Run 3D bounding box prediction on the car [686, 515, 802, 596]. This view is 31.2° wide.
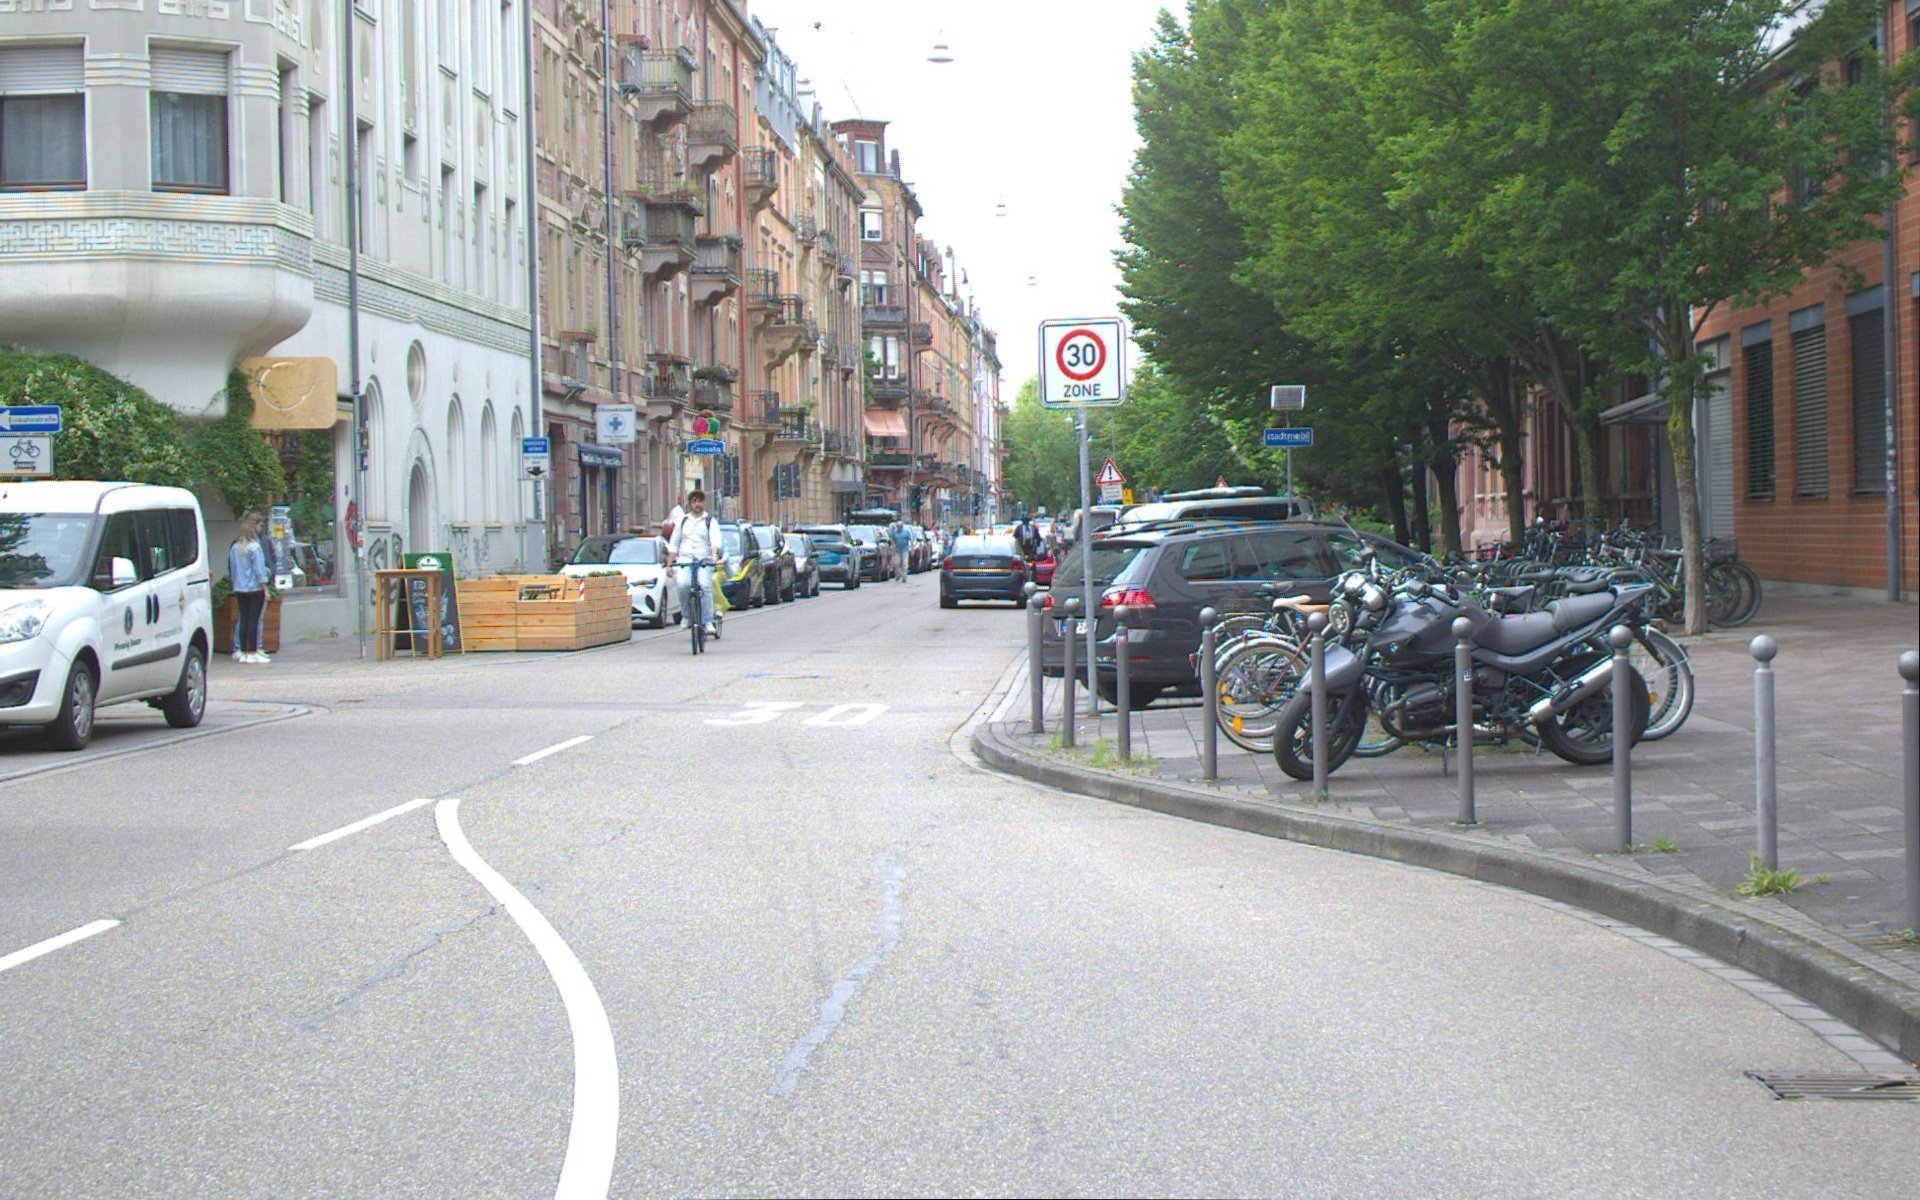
[{"bbox_3d":[-4.403,-0.922,70.687,1.944,1.611,3.942,0,1,3],"label":"car"}]

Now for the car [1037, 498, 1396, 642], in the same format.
[{"bbox_3d":[3.181,-0.378,42.561,4.047,1.579,1.771,-3,1,-28],"label":"car"}]

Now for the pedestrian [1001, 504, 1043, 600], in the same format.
[{"bbox_3d":[1.411,-1.079,78.019,0.891,2.138,1.028,-1,0,1],"label":"pedestrian"}]

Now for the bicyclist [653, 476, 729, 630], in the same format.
[{"bbox_3d":[-3.310,-0.580,42.352,0.782,1.859,0.714,-1,1,4],"label":"bicyclist"}]

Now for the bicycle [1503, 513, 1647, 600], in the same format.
[{"bbox_3d":[7.950,-0.555,44.444,1.752,1.088,0.565,-1,0,2],"label":"bicycle"}]

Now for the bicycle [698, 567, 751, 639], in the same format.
[{"bbox_3d":[-3.282,0.044,47.932,0.535,0.974,1.865,-1,0,2],"label":"bicycle"}]

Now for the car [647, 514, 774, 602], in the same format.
[{"bbox_3d":[-4.697,-0.803,65.223,1.944,1.611,3.942,0,1,3],"label":"car"}]

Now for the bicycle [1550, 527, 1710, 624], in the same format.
[{"bbox_3d":[7.810,-0.284,40.100,1.752,1.088,0.565,-1,0,2],"label":"bicycle"}]

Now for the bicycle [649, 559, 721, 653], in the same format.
[{"bbox_3d":[-3.345,0.061,41.917,0.567,1.083,1.986,-1,2,4],"label":"bicycle"}]

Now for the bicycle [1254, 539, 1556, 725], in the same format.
[{"bbox_3d":[2.961,0.210,22.973,1.883,1.137,0.612,-3,0,0],"label":"bicycle"}]

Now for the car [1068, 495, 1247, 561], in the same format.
[{"bbox_3d":[6.307,-2.300,109.601,5.386,1.861,1.951,-3,1,-27],"label":"car"}]

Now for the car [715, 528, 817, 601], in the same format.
[{"bbox_3d":[-4.369,-0.822,77.881,1.944,1.611,3.942,0,1,2],"label":"car"}]

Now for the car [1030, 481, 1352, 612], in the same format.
[{"bbox_3d":[4.184,-0.973,61.882,5.607,2.120,1.950,-3,1,-31],"label":"car"}]

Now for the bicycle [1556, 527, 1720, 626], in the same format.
[{"bbox_3d":[7.743,-0.268,39.319,1.752,1.088,0.565,-1,0,2],"label":"bicycle"}]

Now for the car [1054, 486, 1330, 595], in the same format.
[{"bbox_3d":[4.749,-1.214,69.954,5.386,1.985,1.950,-3,1,-31],"label":"car"}]

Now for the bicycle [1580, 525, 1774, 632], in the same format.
[{"bbox_3d":[7.602,-0.226,36.483,1.933,1.088,0.577,-1,0,2],"label":"bicycle"}]

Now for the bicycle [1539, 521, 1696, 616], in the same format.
[{"bbox_3d":[7.778,-0.374,40.708,1.752,1.088,0.565,-1,0,2],"label":"bicycle"}]

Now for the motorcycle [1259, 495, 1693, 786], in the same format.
[{"bbox_3d":[2.727,0.213,18.327,2.134,1.424,0.771,-3,0,0],"label":"motorcycle"}]

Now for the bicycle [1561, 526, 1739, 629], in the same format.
[{"bbox_3d":[7.599,-0.247,37.900,1.836,1.088,0.543,-1,0,2],"label":"bicycle"}]

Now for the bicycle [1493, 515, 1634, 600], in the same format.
[{"bbox_3d":[7.942,-0.557,45.306,1.752,1.088,0.565,-1,0,2],"label":"bicycle"}]

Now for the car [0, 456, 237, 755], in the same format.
[{"bbox_3d":[-6.741,-0.018,24.561,1.843,1.933,4.547,-1,2,4],"label":"car"}]

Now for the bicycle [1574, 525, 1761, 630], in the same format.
[{"bbox_3d":[7.621,-0.241,37.089,1.895,1.088,0.543,-1,0,2],"label":"bicycle"}]

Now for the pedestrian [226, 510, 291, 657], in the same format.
[{"bbox_3d":[-8.349,-0.200,40.918,0.578,1.728,0.506,-1,0,-33],"label":"pedestrian"}]

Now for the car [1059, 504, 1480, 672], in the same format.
[{"bbox_3d":[3.322,-0.137,36.784,4.047,1.579,1.903,-3,1,-28],"label":"car"}]

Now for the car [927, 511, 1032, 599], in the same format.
[{"bbox_3d":[0.421,-0.874,68.875,1.993,1.675,4.000,-1,0,1],"label":"car"}]

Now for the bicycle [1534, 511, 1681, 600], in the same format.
[{"bbox_3d":[8.196,-0.557,43.544,1.752,1.088,0.565,-1,0,2],"label":"bicycle"}]

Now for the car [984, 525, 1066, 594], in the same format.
[{"bbox_3d":[1.663,-1.022,87.421,1.993,1.675,4.000,-1,0,1],"label":"car"}]

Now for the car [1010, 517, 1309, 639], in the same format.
[{"bbox_3d":[2.782,-0.316,47.576,3.852,1.500,1.771,-3,1,-37],"label":"car"}]

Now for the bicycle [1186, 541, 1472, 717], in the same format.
[{"bbox_3d":[2.569,0.199,24.045,1.883,1.137,0.612,-3,0,0],"label":"bicycle"}]

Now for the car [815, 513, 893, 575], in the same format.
[{"bbox_3d":[-3.016,-1.622,98.734,1.944,1.736,3.942,0,1,3],"label":"car"}]

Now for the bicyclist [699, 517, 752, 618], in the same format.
[{"bbox_3d":[-3.269,-0.452,47.938,0.668,1.394,0.783,-1,0,0],"label":"bicyclist"}]

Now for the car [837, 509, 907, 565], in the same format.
[{"bbox_3d":[-2.770,-1.994,109.538,1.944,1.738,3.942,0,1,3],"label":"car"}]

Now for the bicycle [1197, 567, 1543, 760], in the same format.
[{"bbox_3d":[2.409,0.370,20.330,1.929,1.040,0.612,-3,0,0],"label":"bicycle"}]

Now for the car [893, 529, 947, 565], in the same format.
[{"bbox_3d":[-1.520,-2.011,131.233,1.993,1.316,4.000,-1,0,-1],"label":"car"}]

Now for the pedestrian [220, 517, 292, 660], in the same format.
[{"bbox_3d":[-8.237,-0.130,40.231,0.579,1.655,0.575,-1,0,24],"label":"pedestrian"}]

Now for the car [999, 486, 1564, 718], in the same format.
[{"bbox_3d":[2.676,-0.009,28.354,4.274,1.573,1.863,-4,2,-30],"label":"car"}]

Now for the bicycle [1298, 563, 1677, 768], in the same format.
[{"bbox_3d":[2.977,0.366,19.516,2.009,1.059,0.612,-3,0,0],"label":"bicycle"}]

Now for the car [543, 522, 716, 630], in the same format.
[{"bbox_3d":[-5.102,-0.397,53.579,1.944,1.548,3.817,-2,1,5],"label":"car"}]

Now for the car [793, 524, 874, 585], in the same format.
[{"bbox_3d":[-3.426,-1.243,93.842,1.944,1.611,3.942,0,1,2],"label":"car"}]

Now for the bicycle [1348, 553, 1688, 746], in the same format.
[{"bbox_3d":[3.393,0.298,20.983,1.929,1.073,0.612,-3,0,0],"label":"bicycle"}]

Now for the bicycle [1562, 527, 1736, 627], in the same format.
[{"bbox_3d":[7.750,-0.259,38.688,1.836,1.088,0.565,-1,0,2],"label":"bicycle"}]

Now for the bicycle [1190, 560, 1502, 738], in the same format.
[{"bbox_3d":[2.452,0.307,21.961,1.883,1.040,0.612,-3,0,0],"label":"bicycle"}]
